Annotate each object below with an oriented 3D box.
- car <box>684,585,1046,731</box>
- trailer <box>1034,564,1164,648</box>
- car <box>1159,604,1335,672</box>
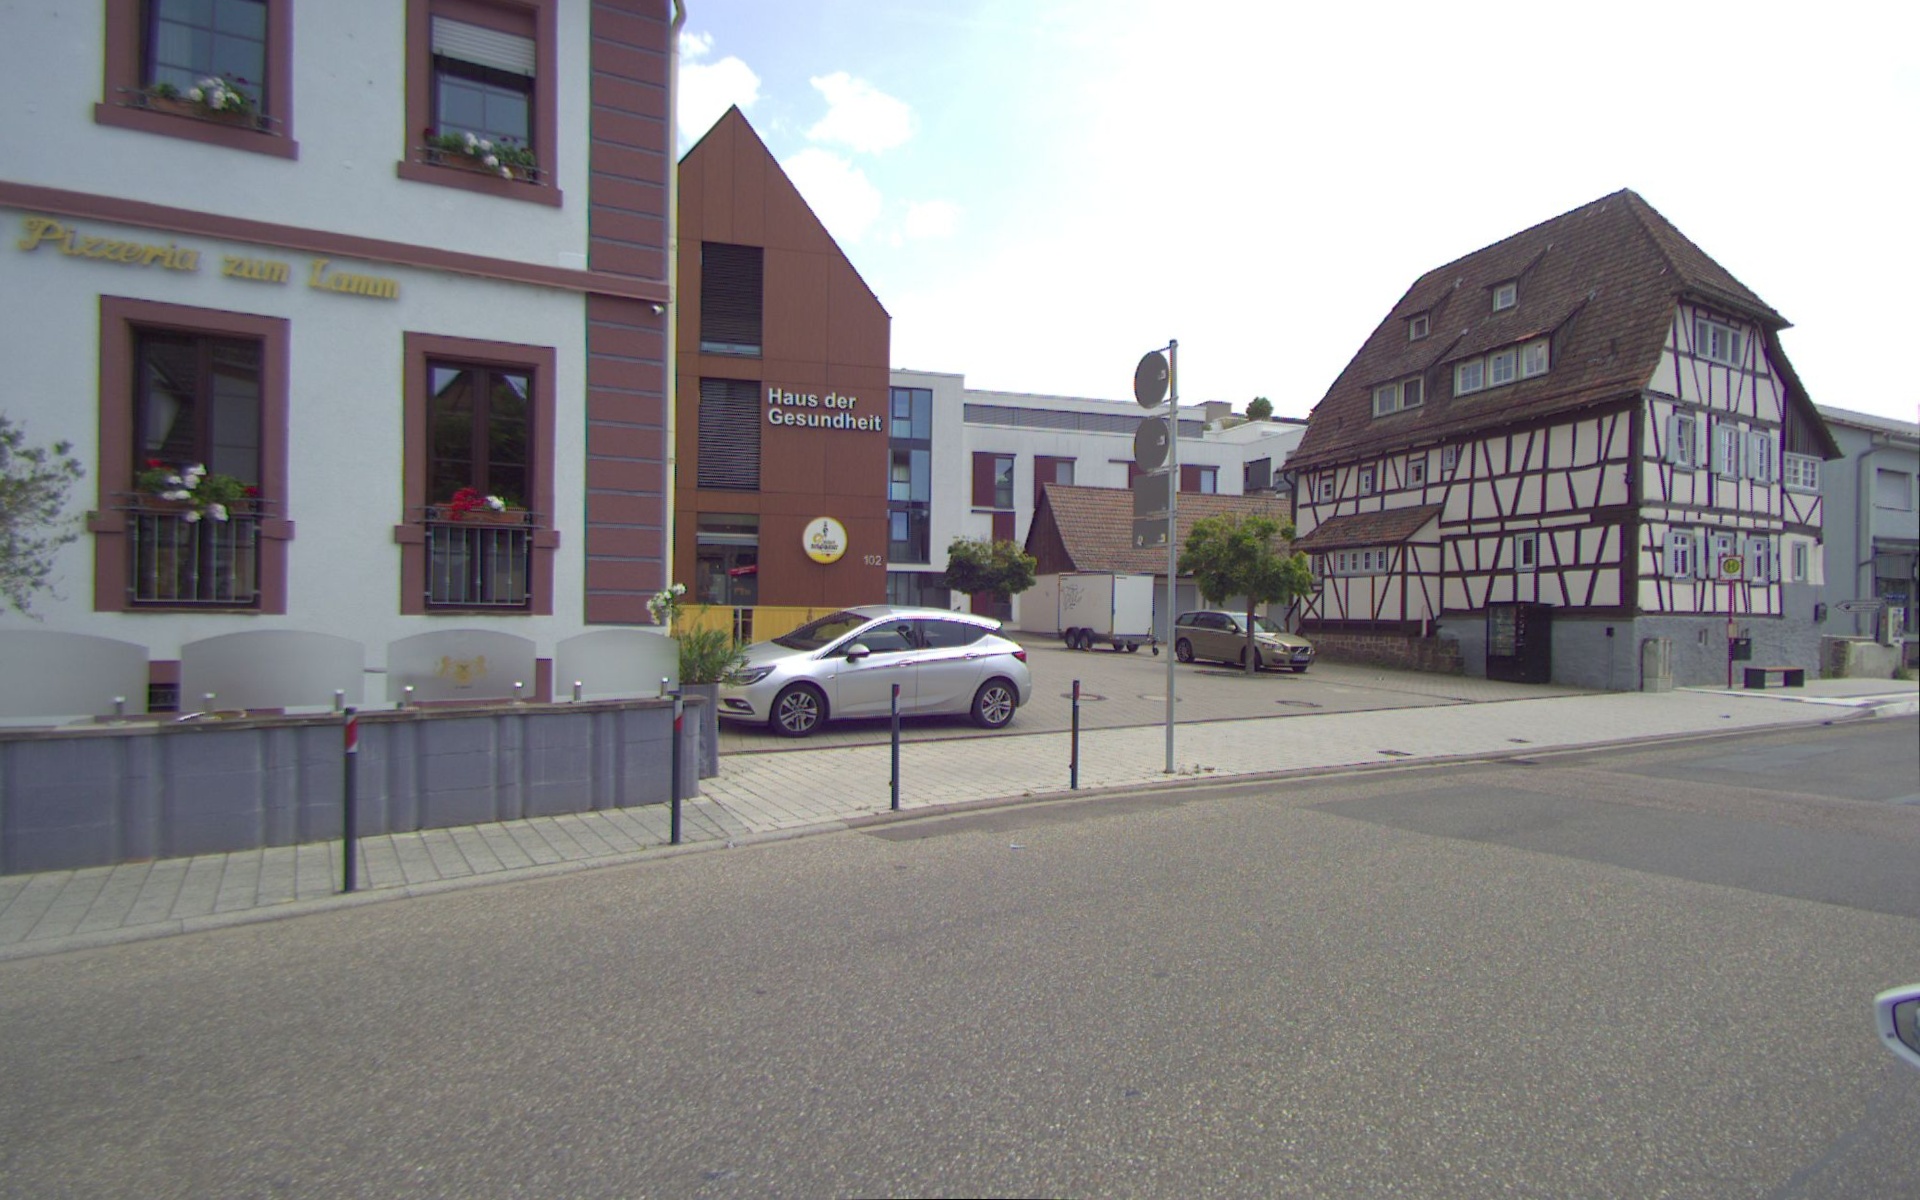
[{"bbox_3d":[-1.177,0.683,12.814,4.223,1.512,1.750,2,3,-29],"label":"car"},{"bbox_3d":[4.383,0.134,32.432,1.938,2.458,4.411,2,1,-26],"label":"trailer"},{"bbox_3d":[7.372,0.932,26.269,1.939,1.407,4.410,1,2,-26],"label":"car"}]
